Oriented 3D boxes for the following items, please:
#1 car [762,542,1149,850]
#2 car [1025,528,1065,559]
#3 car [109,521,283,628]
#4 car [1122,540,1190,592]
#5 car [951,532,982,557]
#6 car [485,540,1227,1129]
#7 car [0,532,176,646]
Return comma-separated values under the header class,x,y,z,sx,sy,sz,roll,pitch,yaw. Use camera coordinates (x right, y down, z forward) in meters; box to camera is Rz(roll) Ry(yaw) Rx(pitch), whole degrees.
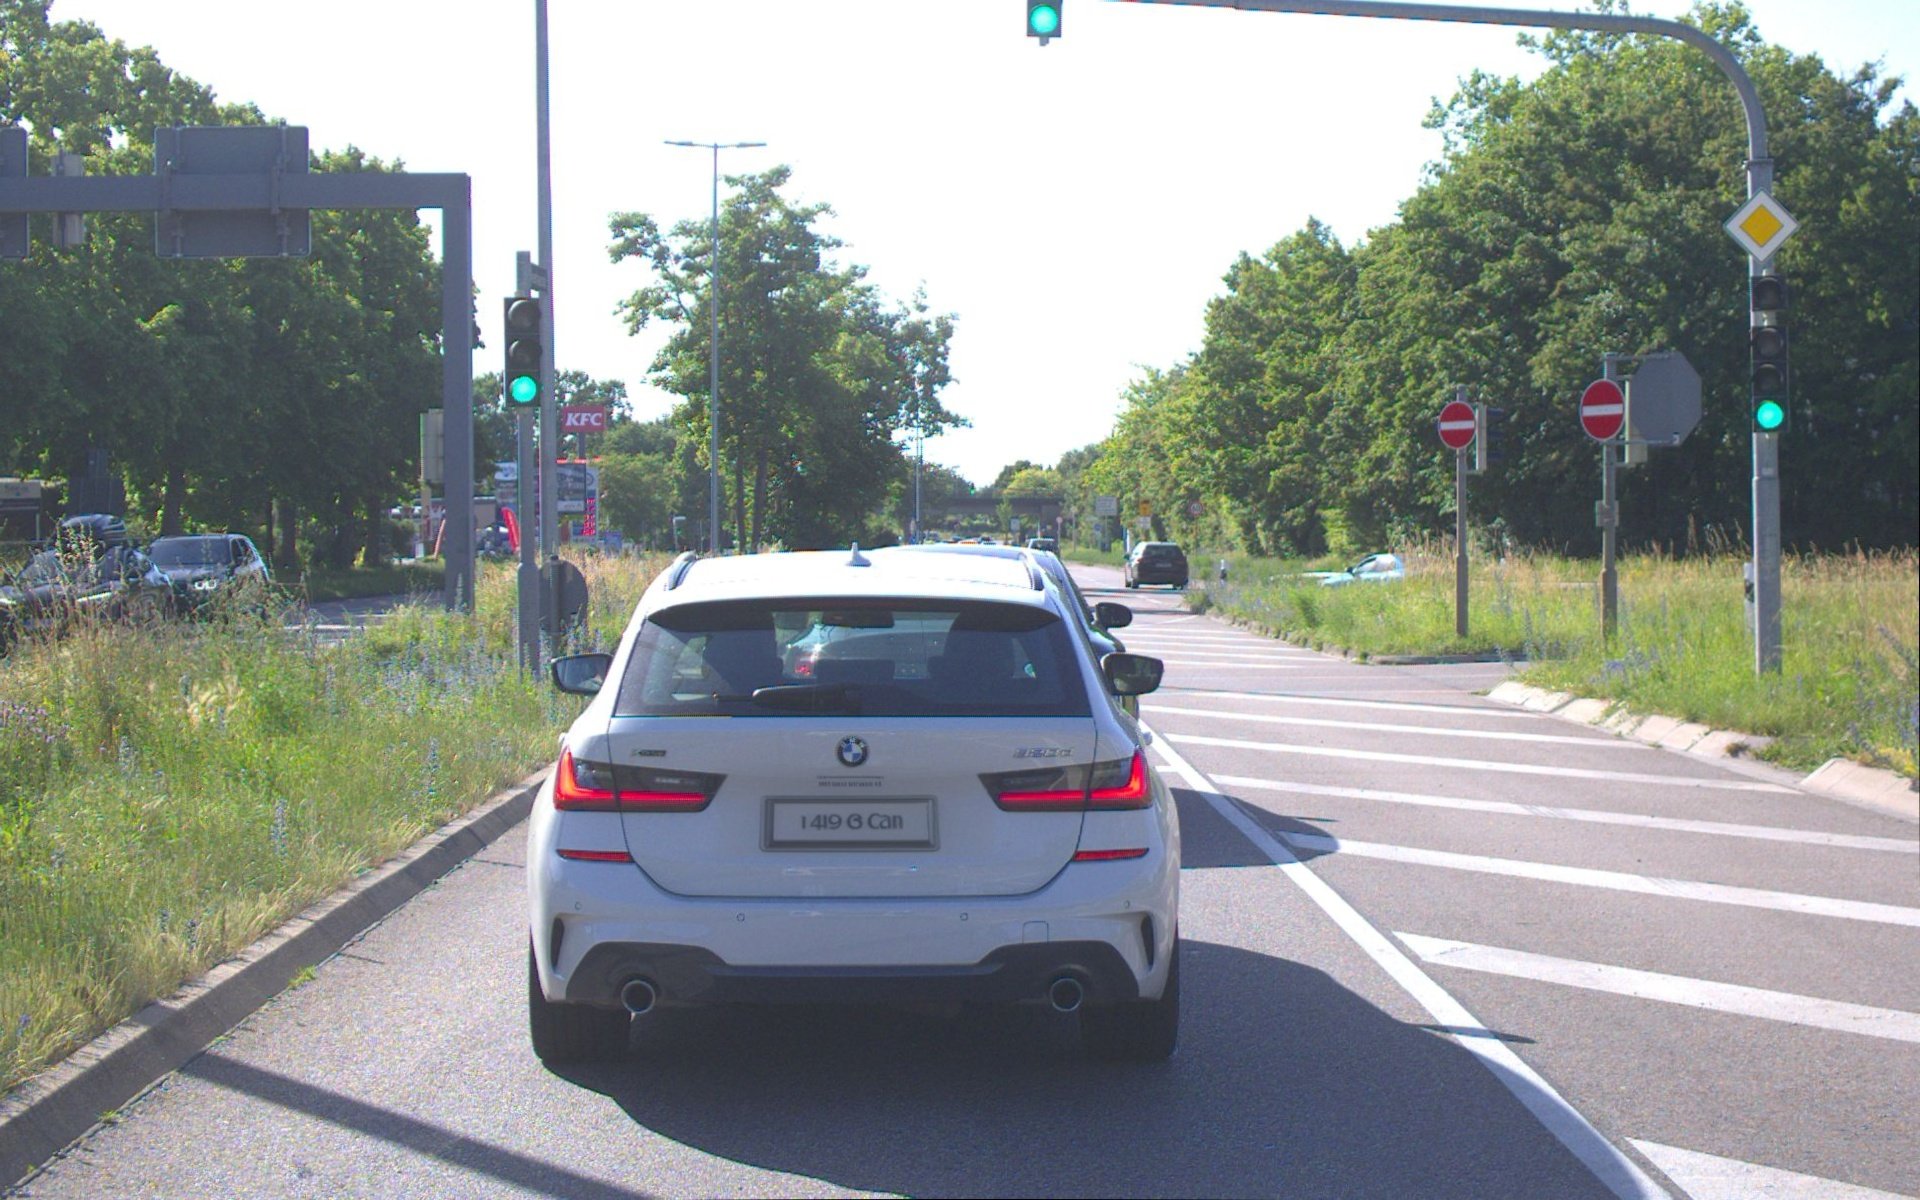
class,x,y,z,sx,sy,sz,roll,pitch,yaw
car,-0.039,0.426,18.917,1.861,1.450,4.548,-1,1,0
car,4.317,-2.877,174.883,1.861,1.560,4.548,-1,1,0
car,-13.158,-0.479,59.467,1.942,1.691,4.630,-2,2,0
car,6.152,-1.086,108.256,1.771,1.550,3.833,-1,1,-2
car,0.403,-3.515,217.091,1.861,1.560,4.548,-1,1,0
car,-0.257,0.556,10.969,1.861,1.450,4.548,-1,1,0
car,-13.011,-0.192,50.549,1.876,1.537,4.573,-2,1,0
